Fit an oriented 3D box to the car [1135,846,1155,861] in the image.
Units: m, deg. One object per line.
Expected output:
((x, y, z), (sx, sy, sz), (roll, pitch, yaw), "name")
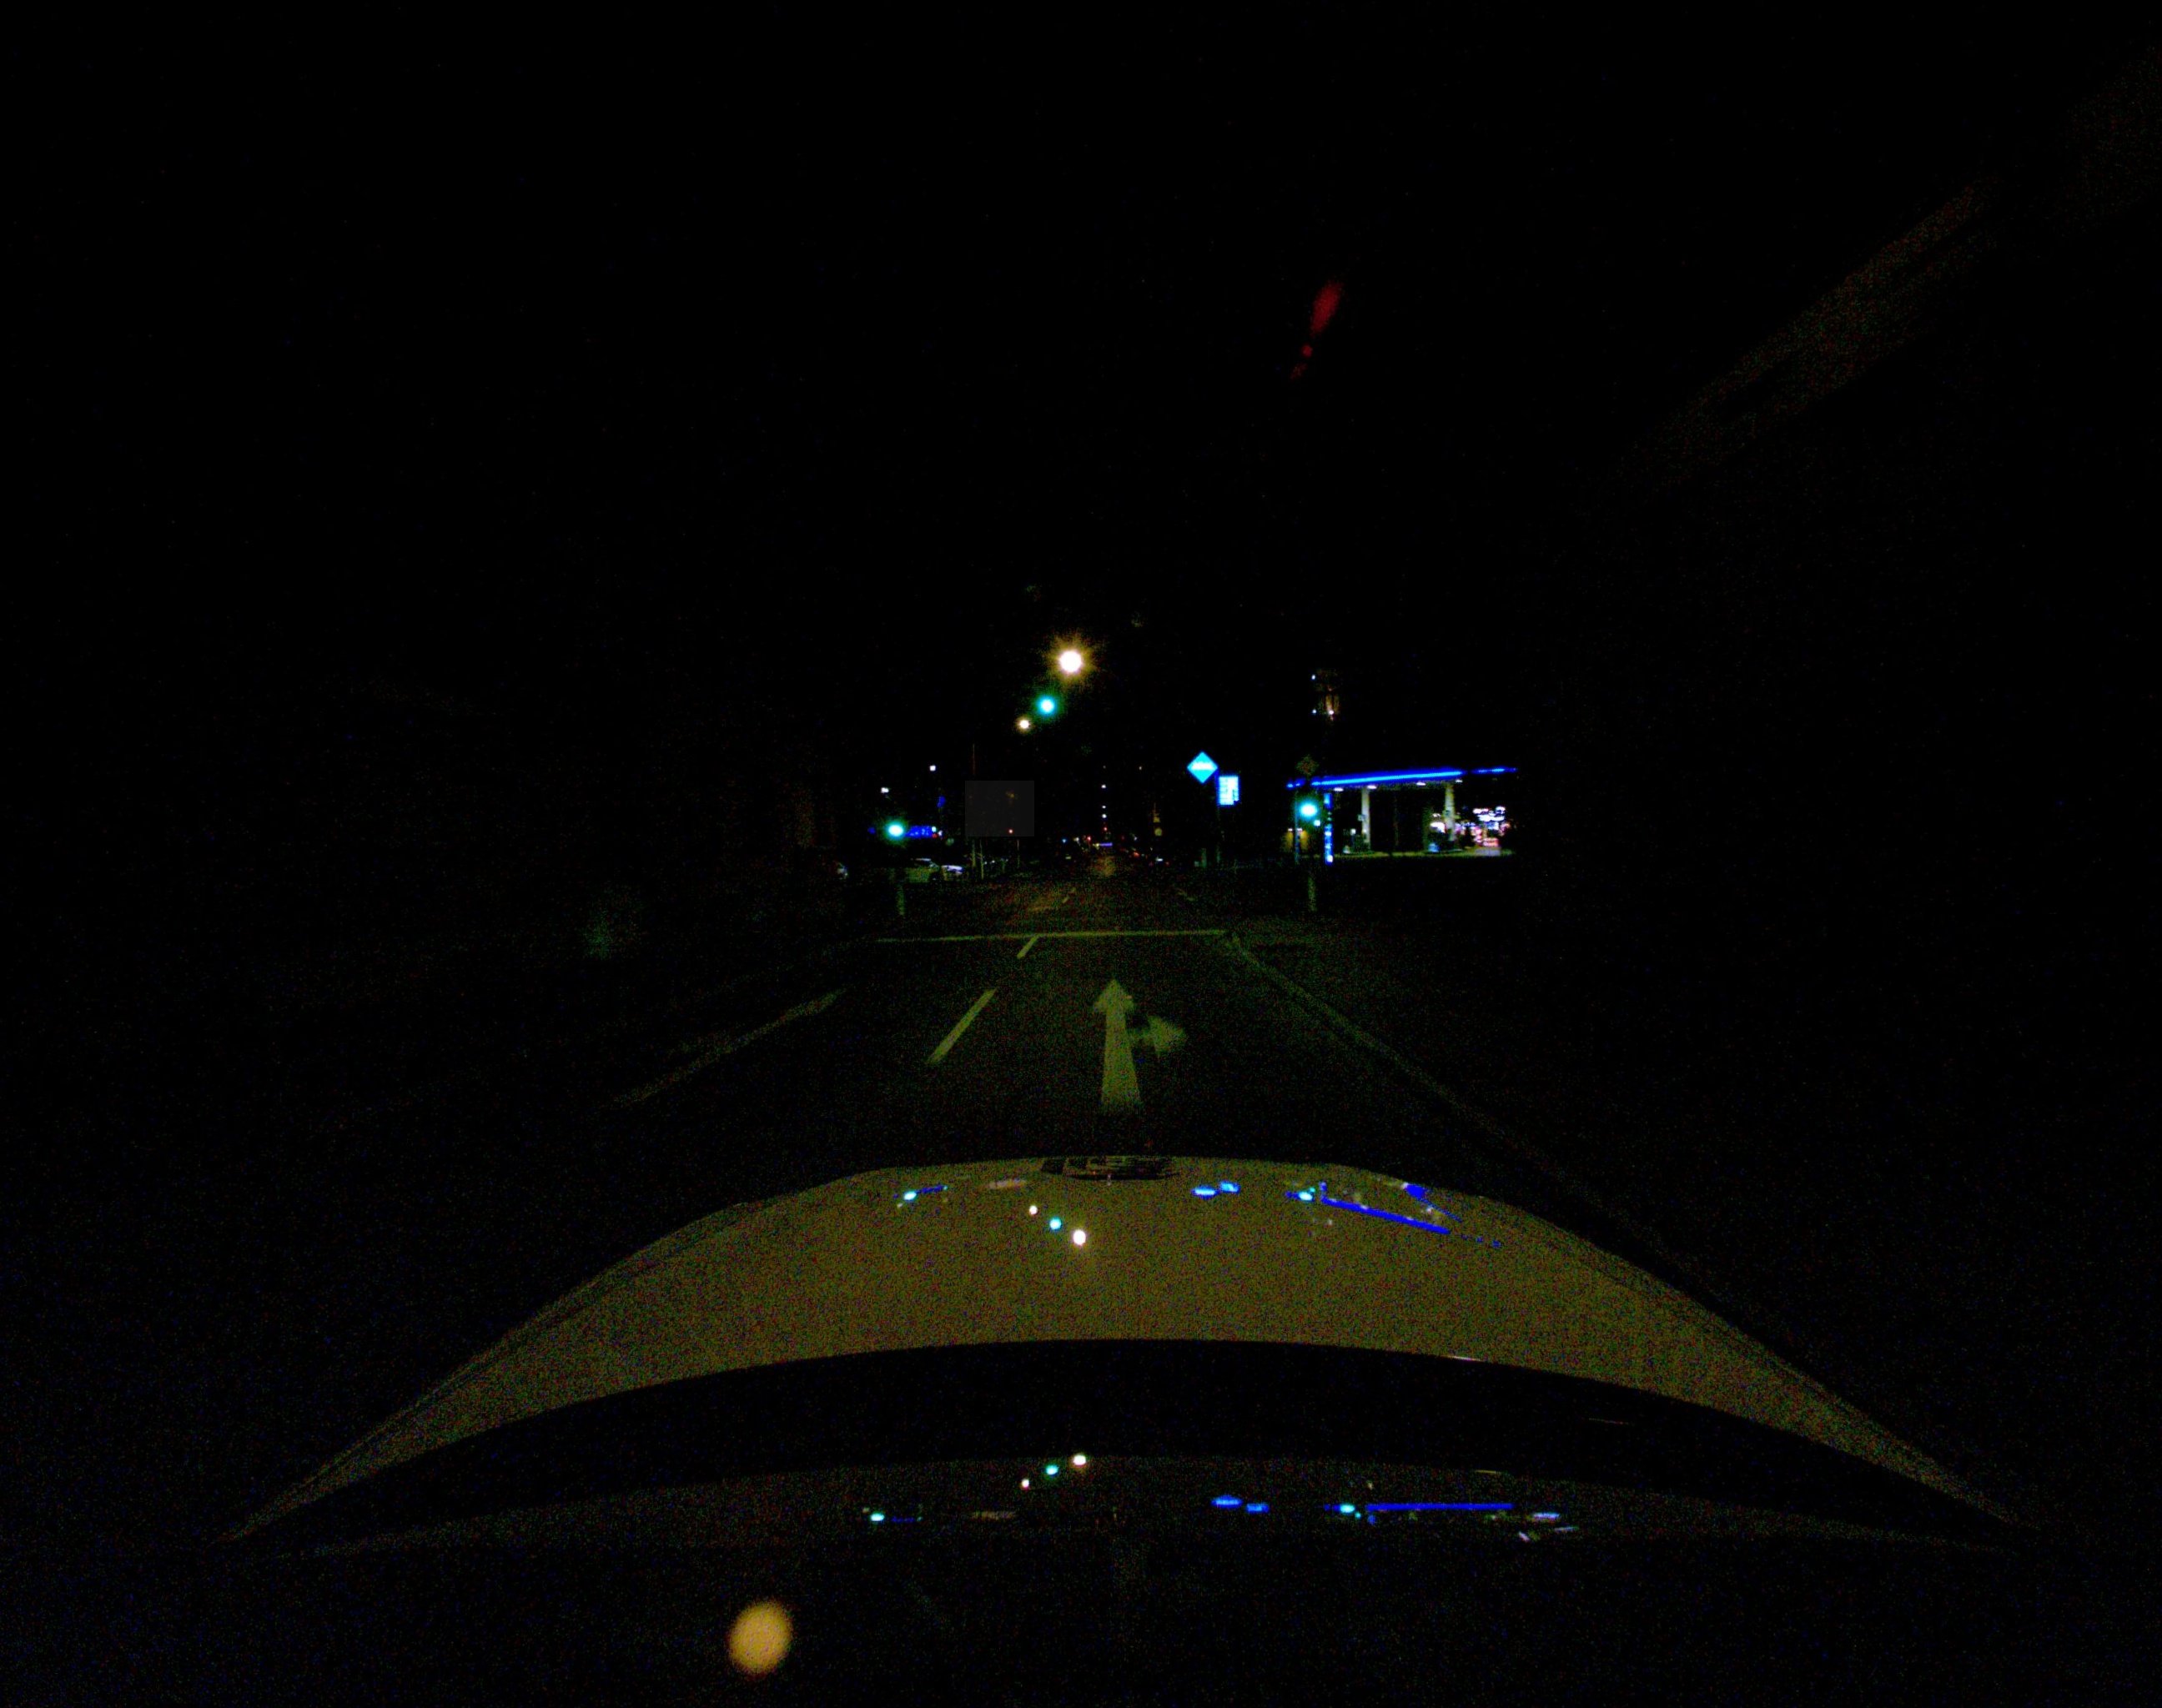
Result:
((6.927, -0.006, 88.567), (1.985, 1.520, 4.004), (-1, 0, 3), "car")

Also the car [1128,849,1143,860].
((7.570, 0.113, 113.797), (1.985, 1.520, 4.004), (-1, 0, 3), "car")

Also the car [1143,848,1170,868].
((5.960, 0.266, 64.657), (1.985, 1.516, 4.004), (-1, 0, 3), "car")

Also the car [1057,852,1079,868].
((-1.289, 0.588, 83.453), (1.986, 1.502, 4.002), (-1, 0, 2), "car")

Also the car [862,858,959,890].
((-8.538, 0.980, 41.112), (4.423, 1.449, 2.000), (-1, 0, 1), "car")

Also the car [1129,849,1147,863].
((6.638, 0.228, 95.539), (1.985, 1.520, 4.004), (-1, 0, 3), "car")

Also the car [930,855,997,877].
((-8.288, 0.855, 57.691), (4.423, 1.449, 2.000), (-1, 0, 1), "car")

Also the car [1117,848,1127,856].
((8.167, -0.320, 160.959), (1.985, 1.520, 4.004), (-1, 0, 3), "car")

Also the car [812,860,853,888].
((-16.811, 1.334, 54.990), (2.005, 1.775, 3.964), (-1, -1, -27), "car")

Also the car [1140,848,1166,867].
((6.210, 0.279, 70.446), (1.987, 1.595, 4.001), (-1, 0, 1), "car")

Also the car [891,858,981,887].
((-7.796, 0.976, 44.121), (4.424, 1.449, 2.000), (-1, 0, 0), "car")

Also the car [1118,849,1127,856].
((9.410, -0.271, 184.272), (1.985, 1.520, 4.004), (-1, 0, 3), "car")

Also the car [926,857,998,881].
((-7.942, 0.980, 54.649), (4.423, 1.449, 2.000), (-1, 0, 1), "car")

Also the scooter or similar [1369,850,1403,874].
((14.932, 0.389, 39.843), (1.688, 1.092, 0.709), (-3, 1, -36), "scooter or similar")
